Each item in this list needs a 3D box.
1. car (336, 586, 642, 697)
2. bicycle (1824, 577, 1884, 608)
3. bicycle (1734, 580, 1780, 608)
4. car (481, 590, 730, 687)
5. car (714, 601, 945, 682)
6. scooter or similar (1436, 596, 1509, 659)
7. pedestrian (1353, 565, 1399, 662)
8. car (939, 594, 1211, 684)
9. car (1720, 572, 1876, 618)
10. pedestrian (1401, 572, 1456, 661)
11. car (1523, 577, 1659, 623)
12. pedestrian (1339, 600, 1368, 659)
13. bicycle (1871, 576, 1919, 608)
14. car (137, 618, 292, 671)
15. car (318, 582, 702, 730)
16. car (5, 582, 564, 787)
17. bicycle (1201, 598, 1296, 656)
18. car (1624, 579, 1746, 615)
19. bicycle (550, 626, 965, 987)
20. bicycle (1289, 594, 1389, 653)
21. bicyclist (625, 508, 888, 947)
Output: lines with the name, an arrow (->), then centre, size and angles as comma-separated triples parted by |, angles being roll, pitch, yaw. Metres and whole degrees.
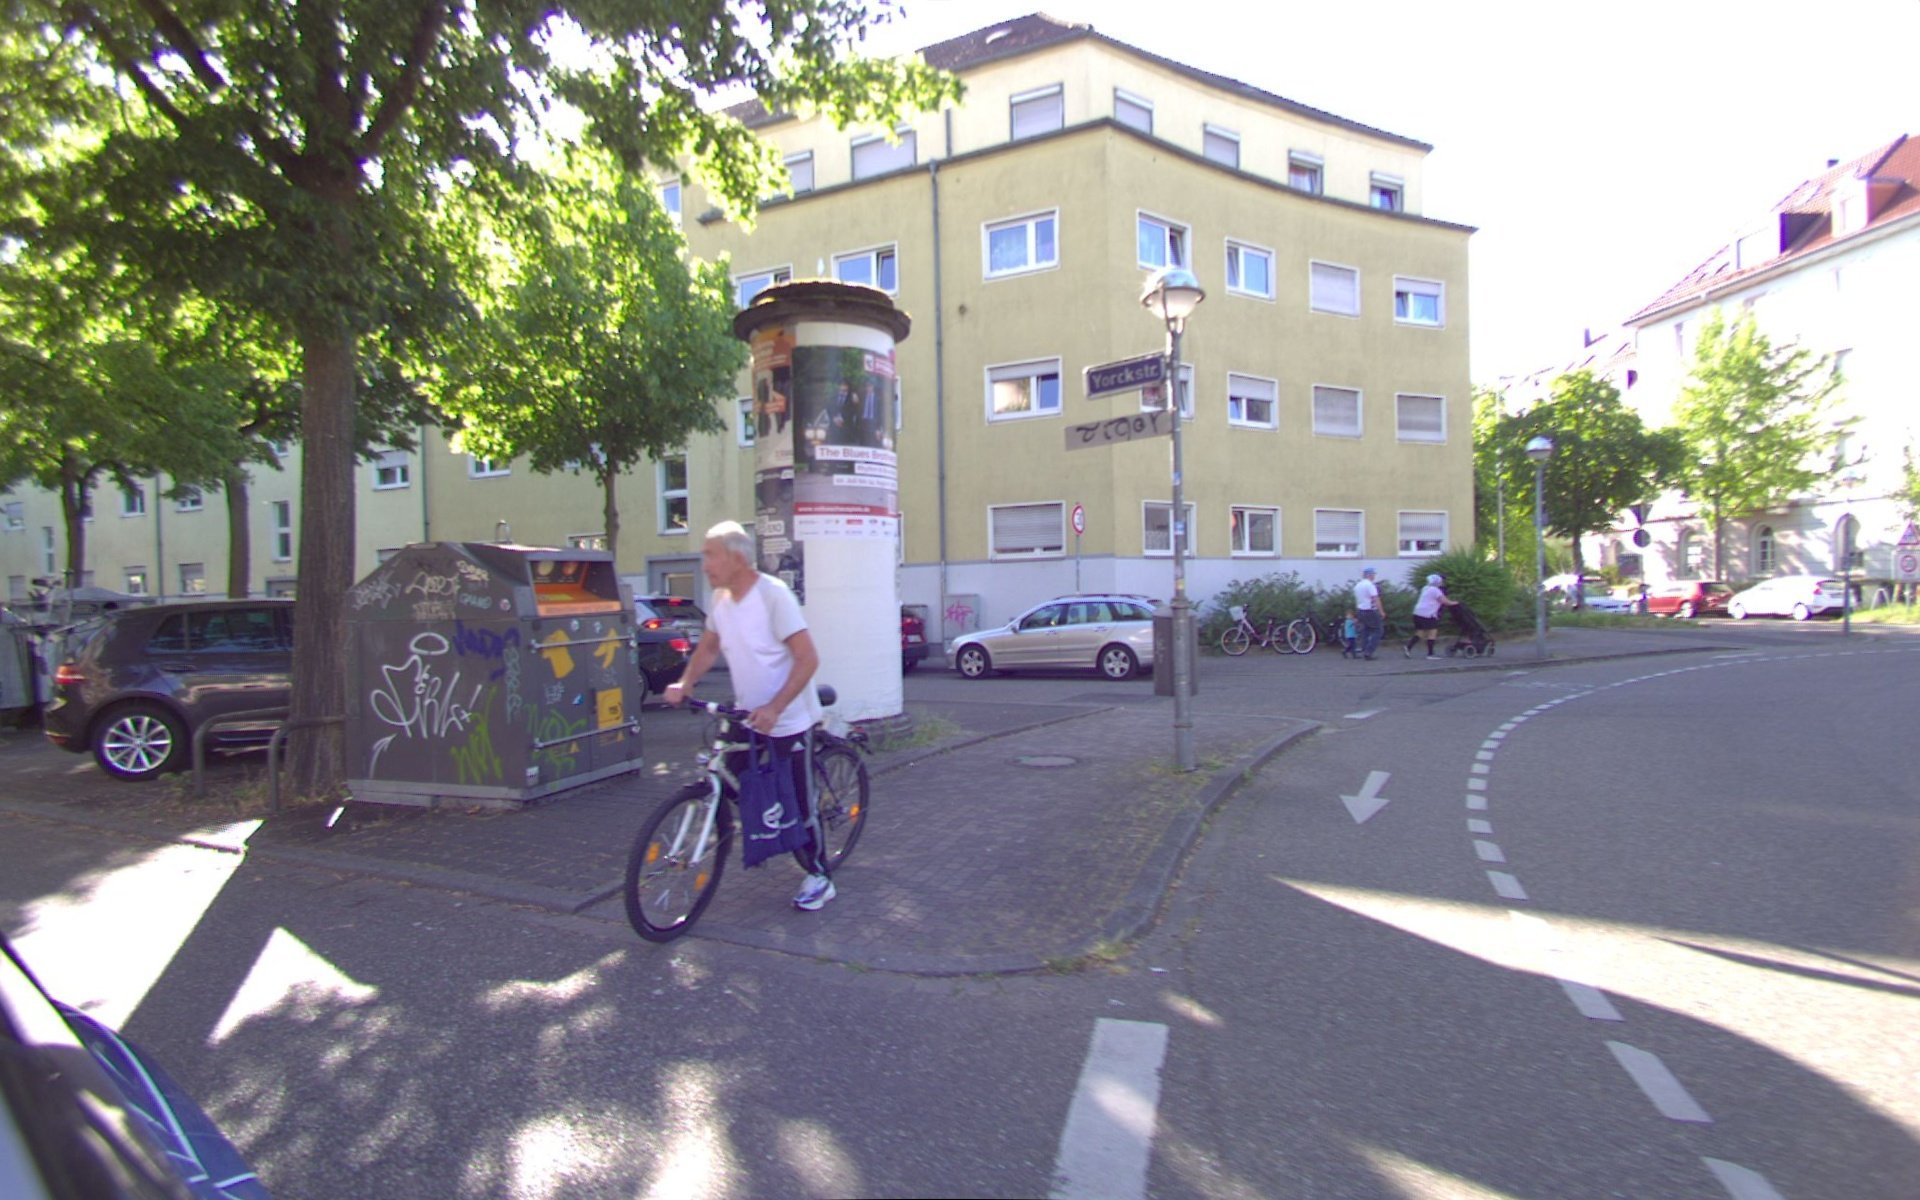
car -> -7.135, 0.552, 15.687 | 1.755, 1.484, 3.953 | -2, 0, 34
bicycle -> 34.388, -0.296, 38.947 | 0.562, 1.151, 1.802 | -2, 0, -6
bicycle -> 34.227, -0.264, 43.481 | 0.563, 1.151, 1.799 | -2, 0, 1
car -> -6.649, 0.749, 18.889 | 4.593, 1.642, 1.716 | -2, -3, 27
car -> -2.639, 0.822, 20.240 | 4.365, 1.450, 1.720 | -2, 0, 27
scooter or similar -> 9.278, 0.493, 18.342 | 0.888, 1.030, 0.916 | -2, 3, 7
pedestrian -> 7.607, 0.235, 18.511 | 0.602, 1.705, 0.553 | -2, 3, 7
car -> 2.004, 0.679, 17.912 | 4.467, 1.422, 1.717 | -2, 0, 27
car -> 28.197, -0.155, 34.228 | 1.773, 1.423, 4.003 | -2, 0, -3
pedestrian -> 8.478, 0.291, 18.329 | 0.689, 1.535, 0.649 | -2, 3, 7
car -> 21.485, 0.010, 34.675 | 1.776, 1.422, 4.006 | -2, 0, -6
pedestrian -> 7.376, 0.547, 18.976 | 0.402, 1.047, 0.375 | -2, 3, 7
bicycle -> 34.539, -0.290, 37.054 | 0.562, 1.132, 1.802 | -2, 0, -6
car -> -22.519, 1.325, 30.540 | 4.365, 1.450, 2.025 | -2, 0, 27
car -> -5.295, 0.589, 12.245 | 3.931, 1.484, 1.765 | -2, 0, -24
car -> -5.781, 0.644, 9.273 | 3.931, 1.484, 1.765 | -2, 0, -23
bicycle -> 5.784, 0.539, 20.314 | 1.784, 1.116, 0.497 | -2, 0, 17
car -> 27.760, -0.093, 38.913 | 1.773, 1.265, 3.723 | -2, 0, -4
bicycle -> -0.801, 0.765, 4.597 | 0.763, 1.207, 1.849 | -2, 0, 32
bicycle -> 7.616, 0.465, 20.350 | 1.776, 1.116, 0.500 | -2, 0, 2
bicyclist -> -0.883, 0.495, 4.477 | 0.763, 1.709, 0.803 | -2, 0, 33
